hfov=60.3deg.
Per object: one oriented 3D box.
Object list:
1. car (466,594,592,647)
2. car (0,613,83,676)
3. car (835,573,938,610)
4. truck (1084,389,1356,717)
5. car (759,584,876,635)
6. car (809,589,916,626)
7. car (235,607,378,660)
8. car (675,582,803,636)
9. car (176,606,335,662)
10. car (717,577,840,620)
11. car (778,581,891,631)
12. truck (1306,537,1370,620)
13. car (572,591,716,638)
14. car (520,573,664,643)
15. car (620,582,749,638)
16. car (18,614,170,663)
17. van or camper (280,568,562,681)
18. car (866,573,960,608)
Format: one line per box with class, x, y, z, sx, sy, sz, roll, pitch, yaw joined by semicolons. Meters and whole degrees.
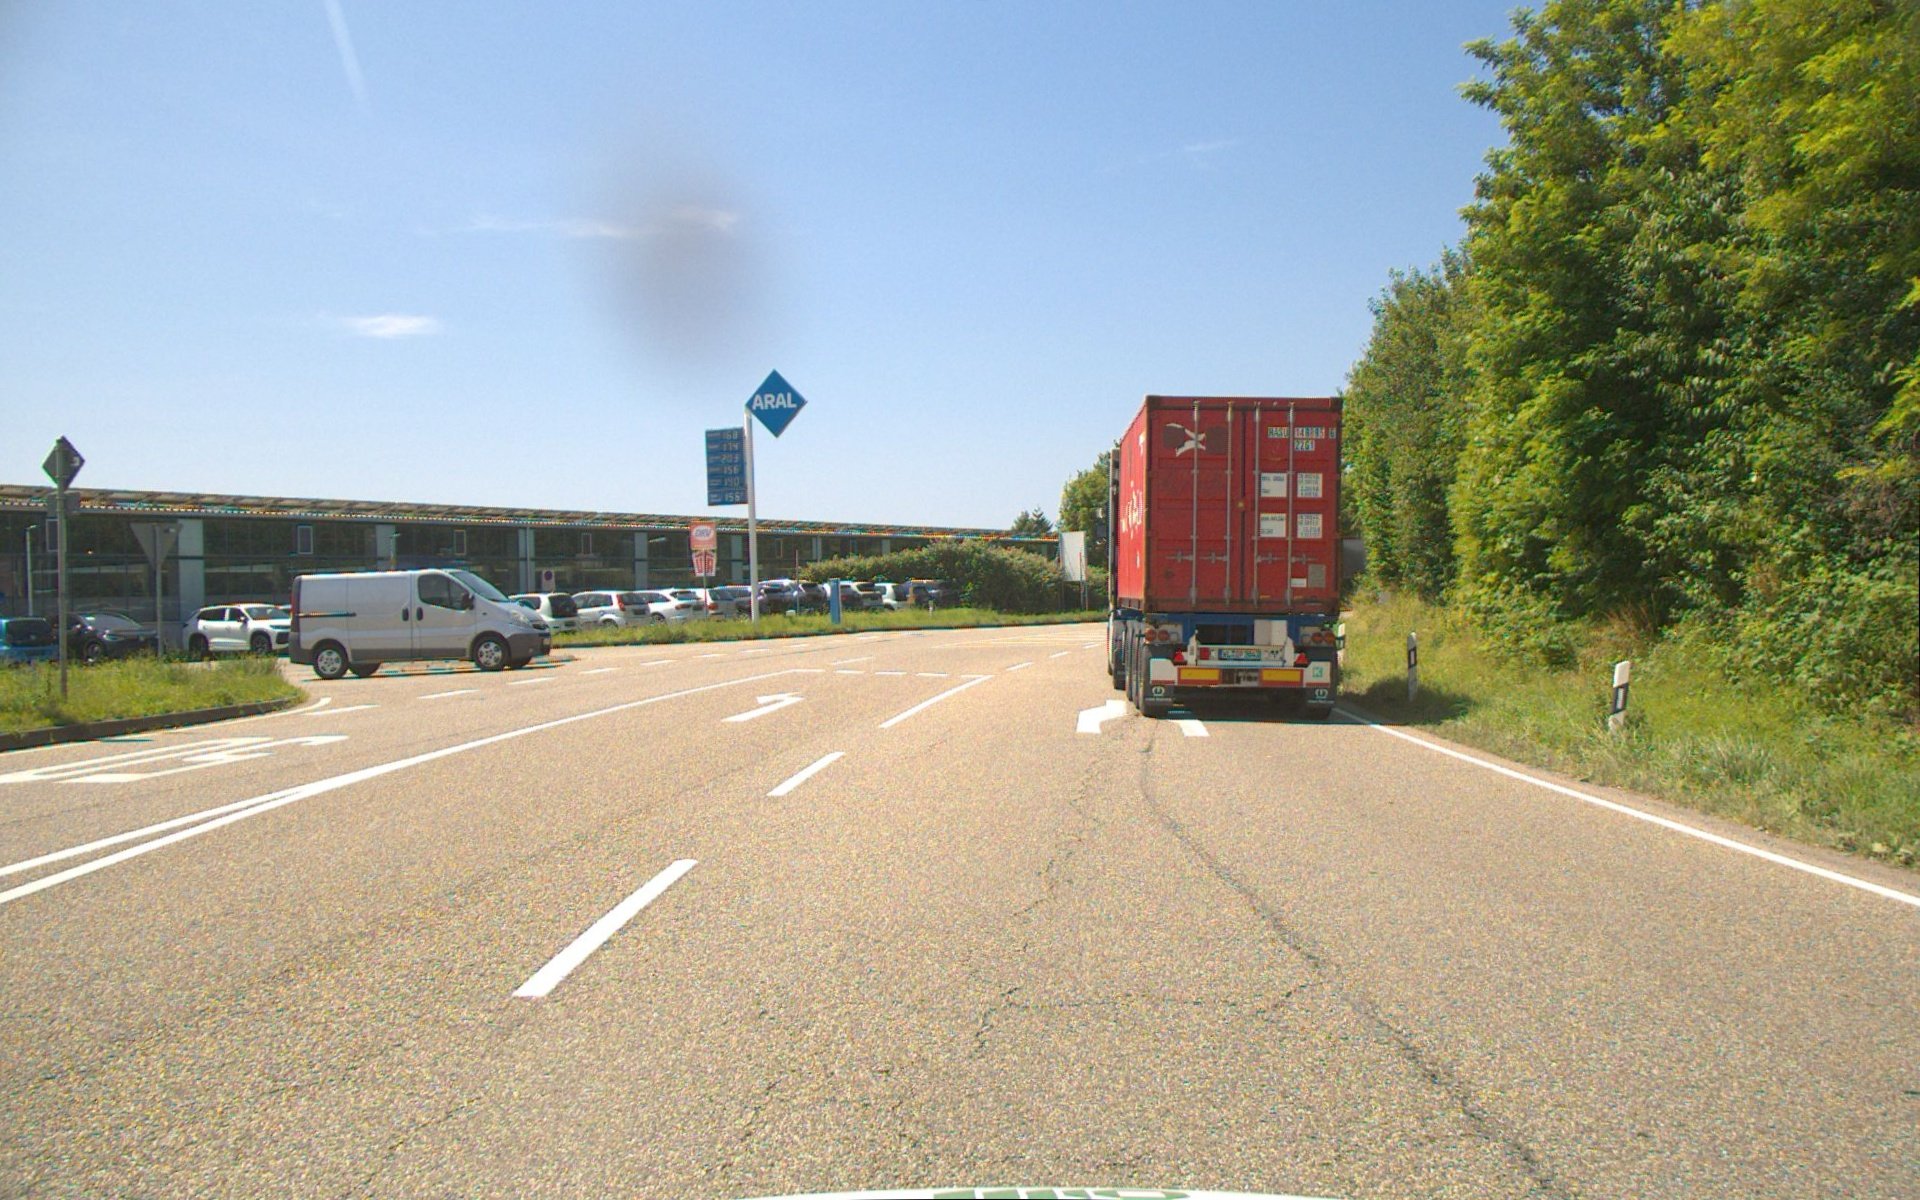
car;-12.843;0.610;49.239;3.373;1.466;1.563;-1;0;24
car;-25.628;1.181;44.097;3.907;1.556;1.999;-1;1;24
car;-3.078;-0.360;69.243;3.906;1.386;1.820;-2;0;24
truck;3.623;-0.616;26.601;2.593;3.872;13.363;2;0;2
car;-5.371;0.363;62.343;3.909;1.780;1.998;-2;0;26
car;-3.959;0.322;67.268;3.907;1.340;1.833;-2;0;24
car;-21.021;1.083;53.227;4.041;1.530;1.999;-2;0;24
car;-7.626;0.313;57.074;3.909;1.780;1.998;-1;0;27
car;-21.783;1.046;51.151;4.487;1.530;1.999;-2;0;24
car;-6.535;-0.053;59.422;3.909;1.355;1.998;-2;0;26
car;-4.927;0.232;65.044;3.909;1.780;1.998;-2;0;26
truck;19.276;-1.060;83.943;2.859;3.782;13.370;-1;0;14
car;-10.169;0.461;53.223;4.152;1.383;1.999;-1;0;25
car;-11.386;0.255;51.221;3.907;2.049;1.999;-1;0;25
car;-9.273;0.344;55.681;3.909;1.780;1.933;-1;0;27
car;-24.190;1.088;46.182;3.908;1.268;1.769;-1;0;25
van or camper;-10.329;0.476;31.933;4.748;1.938;1.904;-2;-1;0
car;-2.012;-0.423;71.467;3.625;1.397;1.801;2;1;27
